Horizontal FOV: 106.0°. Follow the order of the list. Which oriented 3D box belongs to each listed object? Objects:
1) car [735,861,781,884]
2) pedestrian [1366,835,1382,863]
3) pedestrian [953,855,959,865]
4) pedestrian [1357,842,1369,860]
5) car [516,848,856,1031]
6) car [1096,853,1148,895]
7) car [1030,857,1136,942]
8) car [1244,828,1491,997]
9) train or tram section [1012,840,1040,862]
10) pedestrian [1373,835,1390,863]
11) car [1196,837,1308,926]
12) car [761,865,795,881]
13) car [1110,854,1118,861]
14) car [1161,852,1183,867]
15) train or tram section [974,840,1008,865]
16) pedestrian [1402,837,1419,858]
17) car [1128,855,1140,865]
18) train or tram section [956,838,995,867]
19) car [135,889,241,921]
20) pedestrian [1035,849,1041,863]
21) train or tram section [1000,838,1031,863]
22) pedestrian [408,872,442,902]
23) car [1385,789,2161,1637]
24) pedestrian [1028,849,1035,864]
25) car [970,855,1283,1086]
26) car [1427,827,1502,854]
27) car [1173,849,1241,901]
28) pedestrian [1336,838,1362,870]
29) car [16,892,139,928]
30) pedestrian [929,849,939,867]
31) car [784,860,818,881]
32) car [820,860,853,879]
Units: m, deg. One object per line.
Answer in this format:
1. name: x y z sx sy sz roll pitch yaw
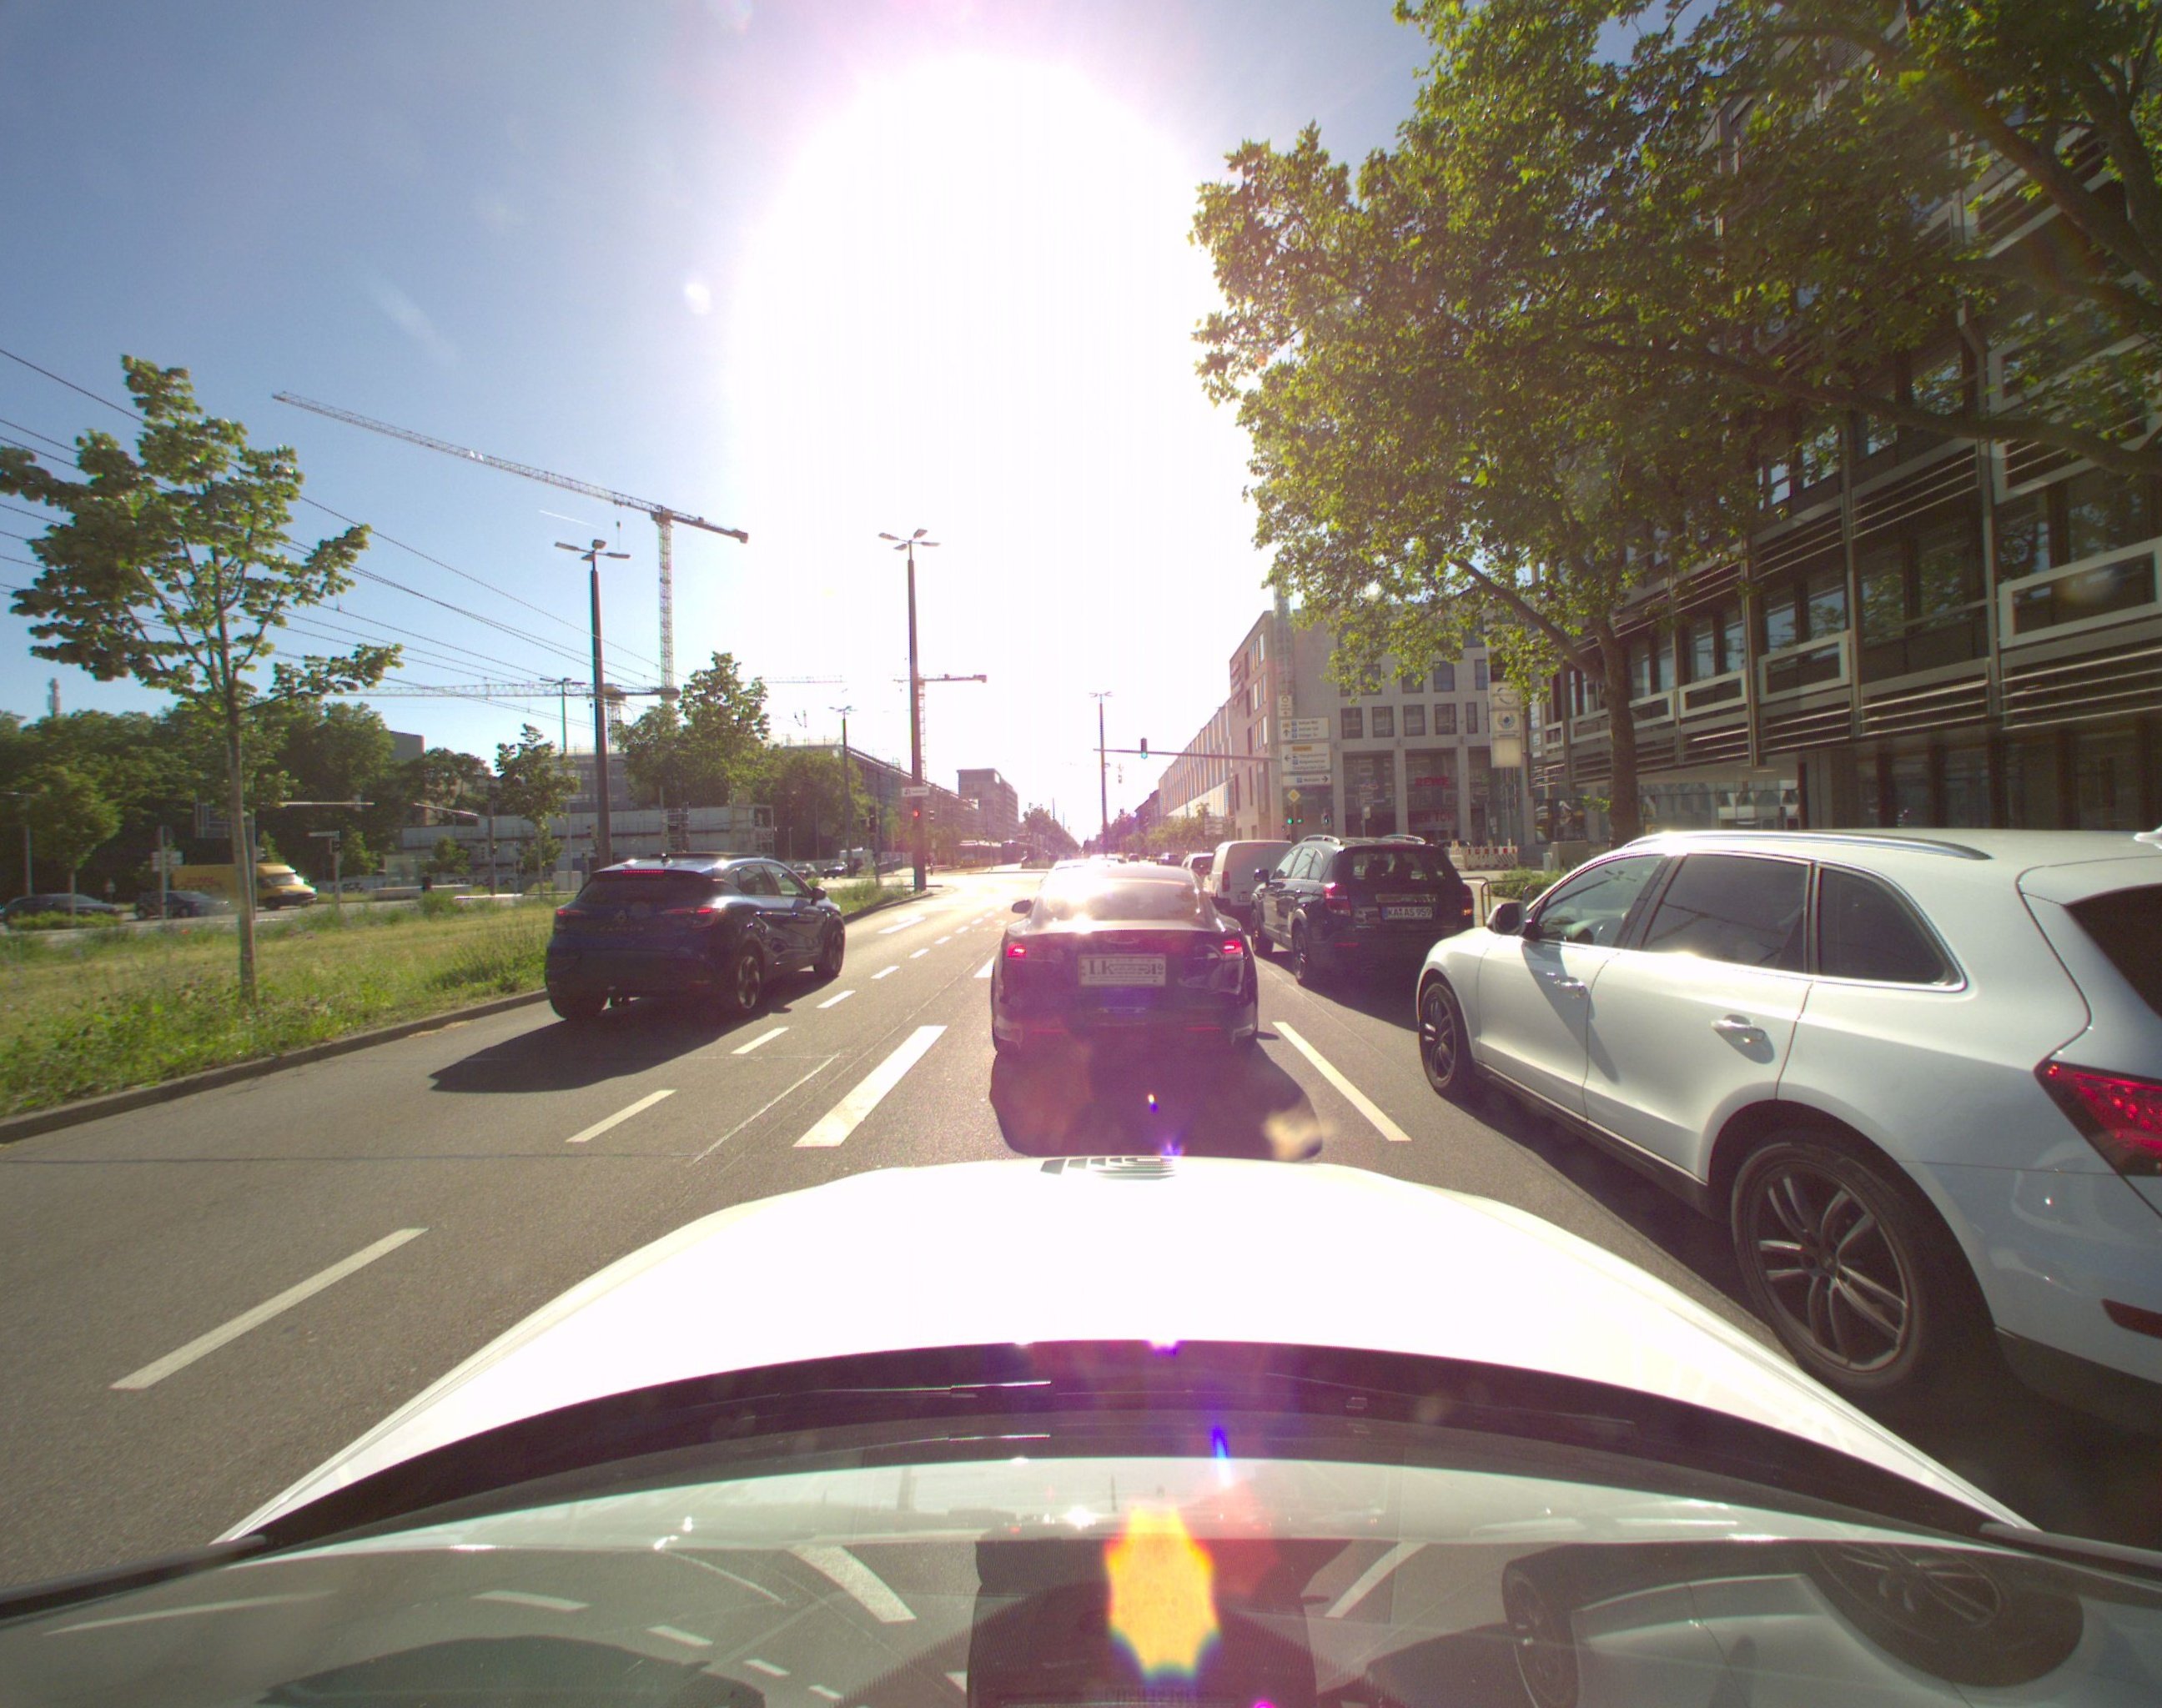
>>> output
1. car: -26.220 1.499 66.204 1.818 1.689 4.096 -2 0 4
2. pedestrian: 17.498 -0.301 48.628 0.659 1.612 0.525 -4 0 -8
3. pedestrian: -16.063 0.781 104.468 0.669 1.226 0.506 0 -1 -2
4. pedestrian: 26.168 -0.256 75.574 0.559 1.607 0.742 -3 1 -35
5. car: -4.025 0.747 9.175 1.764 1.588 4.089 0 0 1
6. car: 1.417 0.664 28.892 1.710 1.319 4.002 -2 0 2
7. car: 0.095 0.764 15.481 1.710 1.319 4.002 -2 0 2
8. car: 3.396 0.589 10.596 1.777 1.699 4.415 -2 0 2
9. train or tram section: -8.984 -0.502 136.246 2.860 3.279 22.146 0 0 1
10. pedestrian: 17.704 -0.298 48.008 0.659 1.612 0.525 -4 0 -8
11. car: 3.721 0.536 18.408 1.777 1.733 4.166 -2 0 2
12. car: -32.744 2.046 88.125 1.985 1.601 4.004 -2 0 3
13. car: 7.700 0.748 190.785 1.927 1.542 4.002 -2 0 2
14. car: 9.388 0.552 84.697 1.927 1.542 4.002 -2 0 2
15. train or tram section: -12.537 -0.118 114.922 2.838 3.321 15.967 0 0 1
16. pedestrian: 27.342 -0.556 67.587 0.974 1.684 0.860 -2 0 -1
17. car: 9.094 1.001 140.058 1.927 1.542 4.002 -2 0 2
18. train or tram section: -12.817 -0.167 100.392 2.860 3.309 13.074 0 0 1
19. car: -48.969 2.781 44.709 3.966 1.539 1.907 -2 0 6
20. pedestrian: -5.461 0.307 103.661 0.701 1.775 0.959 0 1 -2
21. train or tram section: -9.312 -0.500 117.592 2.860 3.279 15.187 0 0 1
22. pedestrian: -39.221 1.957 48.694 1.184 1.685 0.951 -1 1 11
23. car: 3.027 0.645 3.631 1.812 1.613 4.415 -2 0 2
24. pedestrian: -5.632 0.289 92.650 0.739 1.628 0.862 -2 0 2
25. car: 0.379 0.759 7.462 1.991 1.434 4.415 -1 0 2
26. car: 26.093 -0.899 55.521 4.167 1.612 1.862 -2 -2 3
27. car: 4.100 0.628 27.053 1.777 1.546 4.041 -2 0 2
28. pedestrian: 16.103 -0.004 49.024 0.963 1.801 1.523 -4 0 1
29. car: -49.135 2.728 39.912 3.966 1.539 1.907 -2 0 6
30. pedestrian: -15.572 0.421 86.316 0.797 1.823 0.976 -2 0 -2
31. car: -28.207 1.677 82.161 1.863 1.955 4.001 -2 0 1
32. car: -24.144 1.509 80.512 1.939 1.707 4.366 -2 0 0
